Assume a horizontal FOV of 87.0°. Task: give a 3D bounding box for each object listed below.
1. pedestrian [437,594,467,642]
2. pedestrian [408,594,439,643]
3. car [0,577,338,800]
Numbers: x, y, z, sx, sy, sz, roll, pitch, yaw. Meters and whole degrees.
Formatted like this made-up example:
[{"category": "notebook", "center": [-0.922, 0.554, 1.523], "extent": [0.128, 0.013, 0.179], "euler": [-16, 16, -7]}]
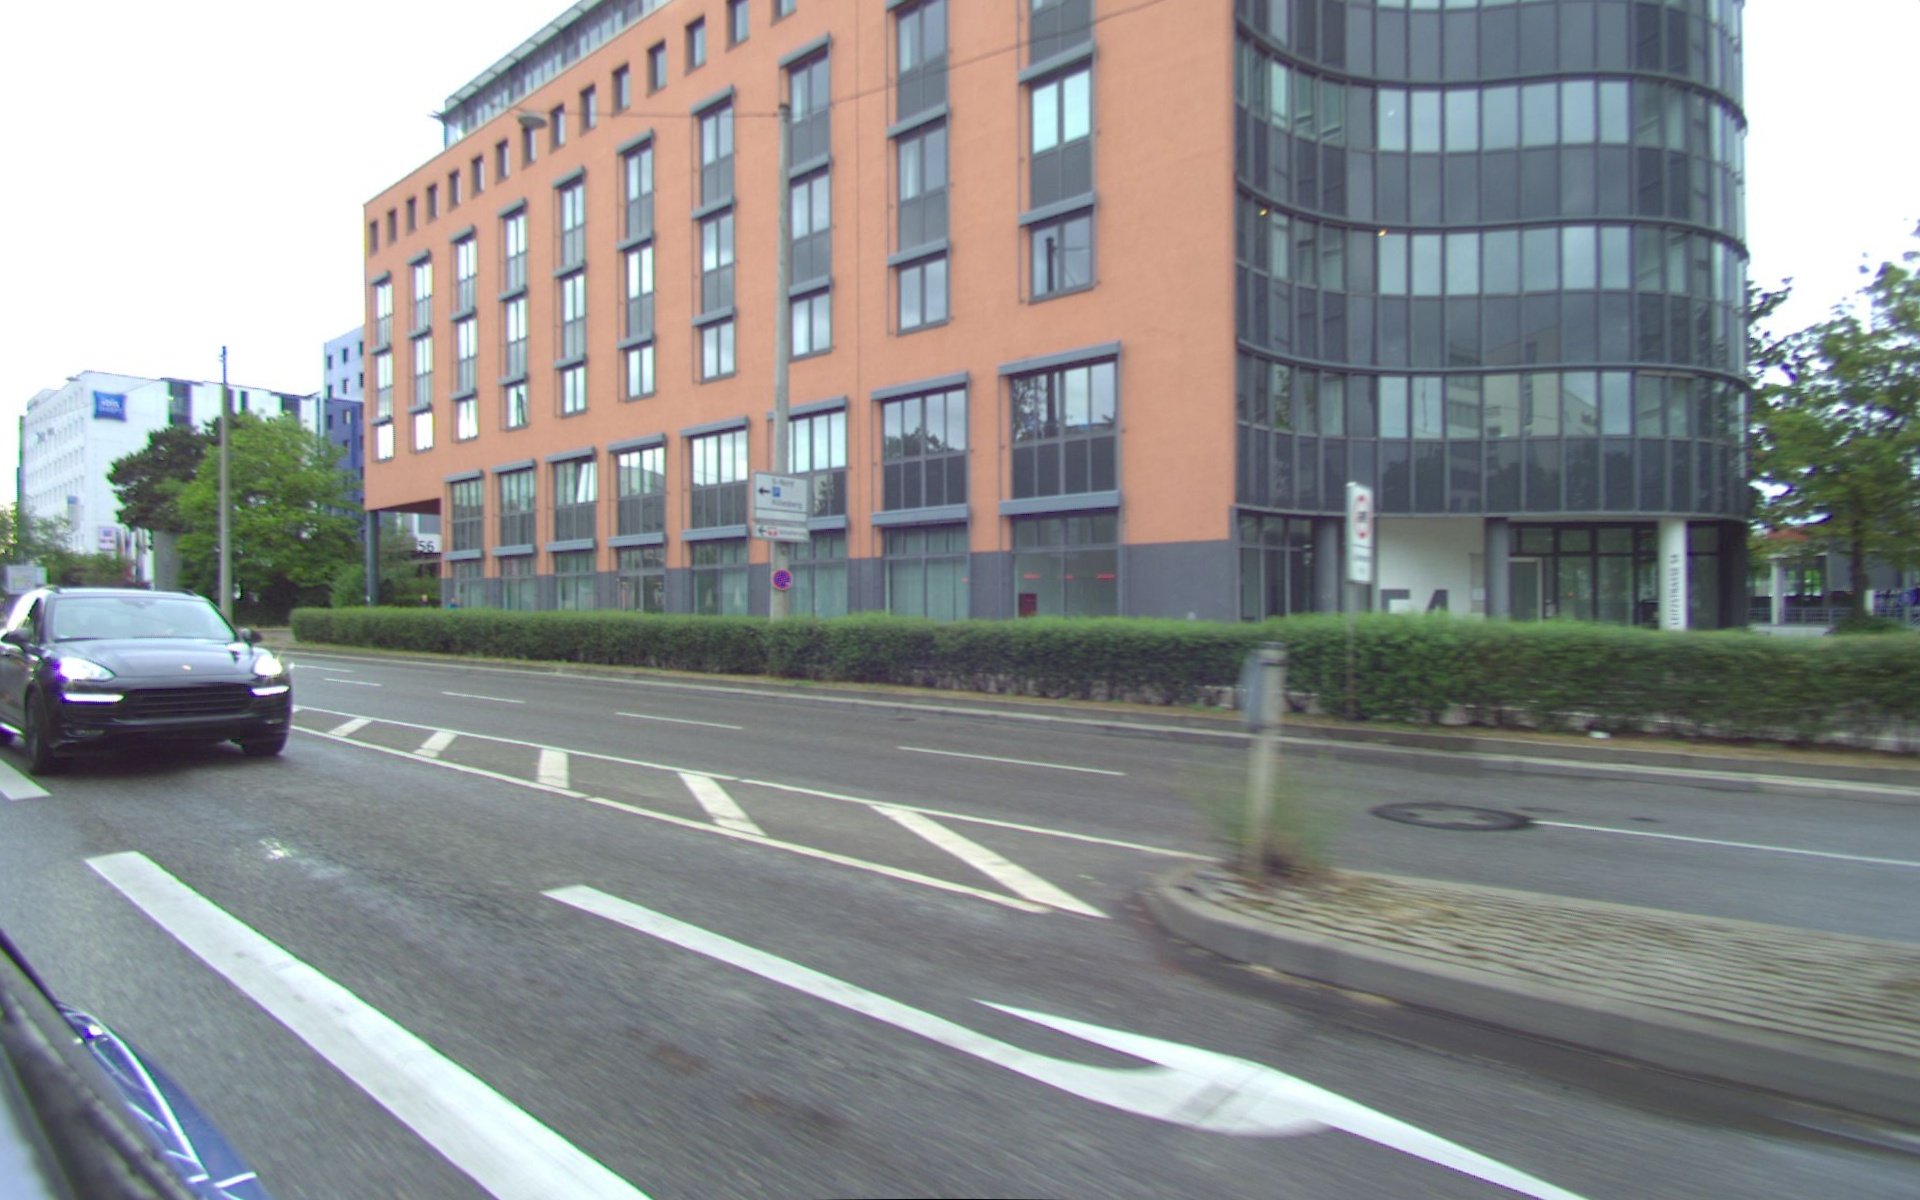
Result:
[{"category": "pedestrian", "center": [-20.100, 0.700, 40.040], "extent": [0.885, 1.855, 0.738], "euler": [-1, 1, 39]}, {"category": "pedestrian", "center": [-20.876, 0.708, 39.377], "extent": [0.885, 1.855, 0.738], "euler": [-1, 1, 39]}, {"category": "car", "center": [-8.344, 0.708, 10.152], "extent": [5.420, 1.679, 1.973], "euler": [-1, -1, 40]}]
